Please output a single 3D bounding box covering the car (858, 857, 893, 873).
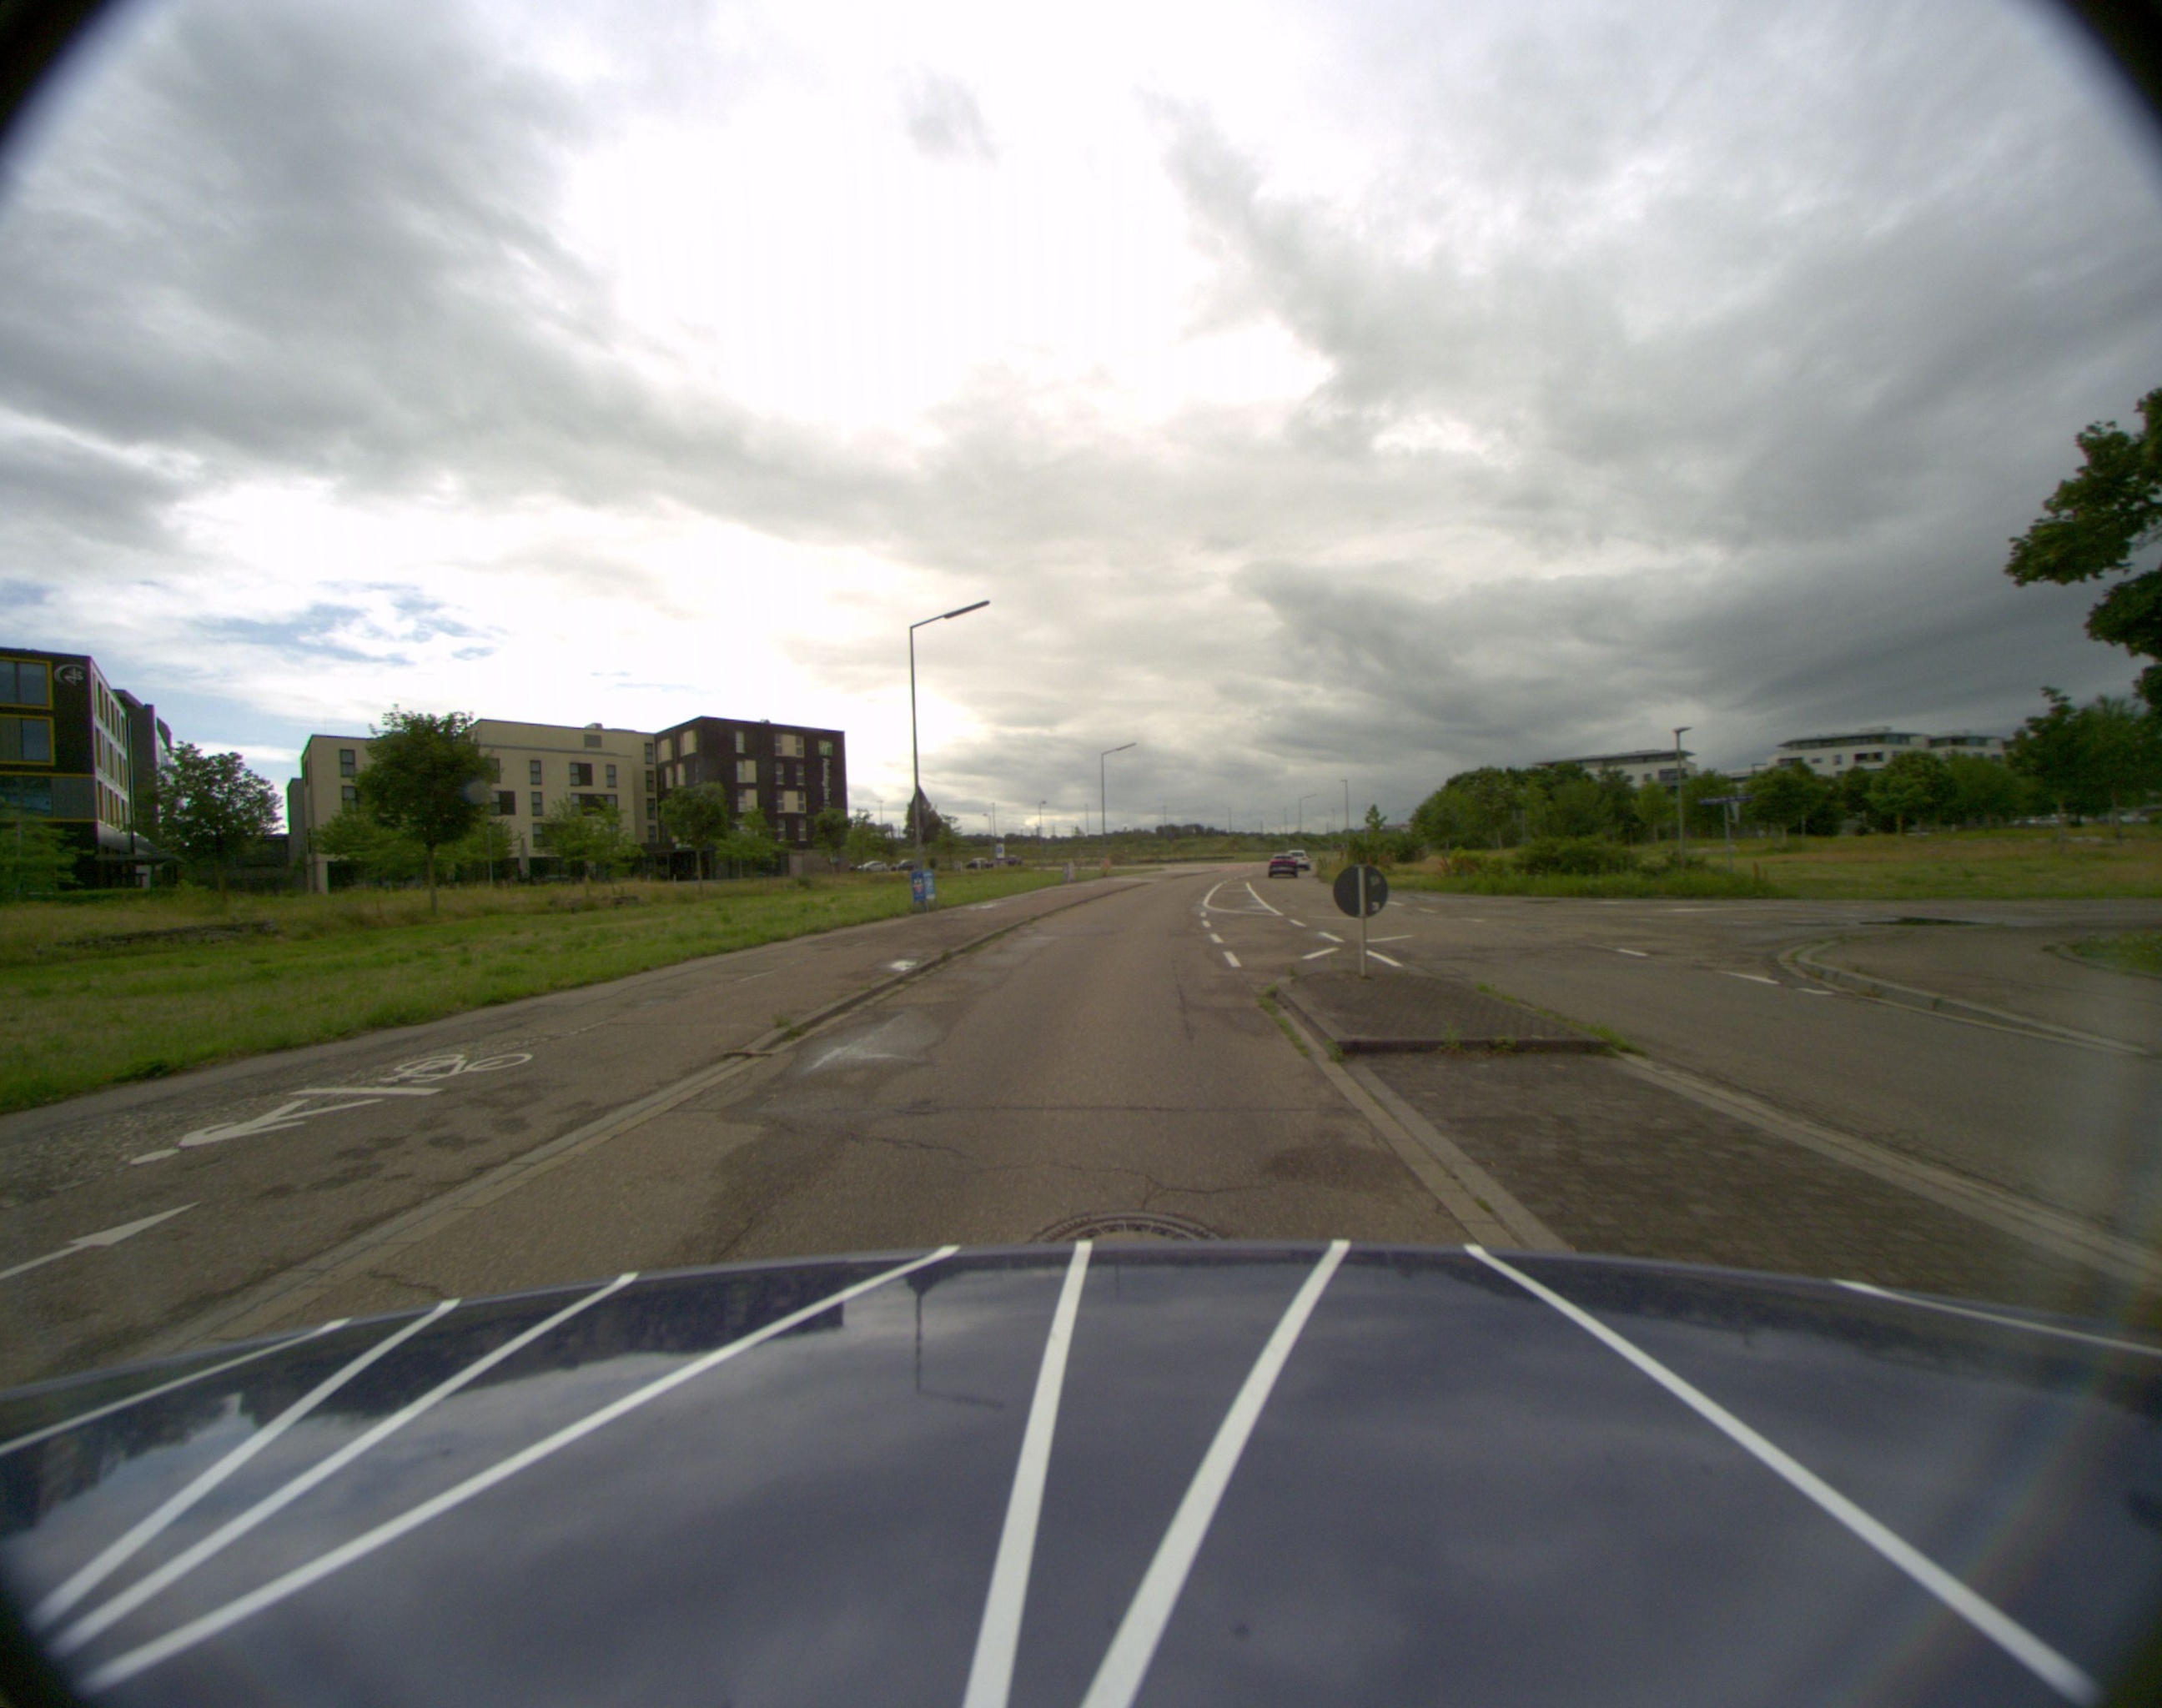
[{"bbox_3d":[-27.272,1.393,100.794,1.994,2.002,4.008,-1,0,41],"label":"car"}]

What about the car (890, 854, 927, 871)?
[{"bbox_3d":[-21.737,1.009,95.790,1.994,2.002,4.008,-1,0,41],"label":"car"}]

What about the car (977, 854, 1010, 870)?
[{"bbox_3d":[-11.808,1.027,102.619,1.994,2.002,4.008,-1,0,41],"label":"car"}]

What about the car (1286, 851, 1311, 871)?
[{"bbox_3d":[17.884,0.526,62.517,1.840,1.527,4.004,-2,0,15],"label":"car"}]

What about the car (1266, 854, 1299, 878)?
[{"bbox_3d":[12.973,0.769,49.086,1.741,1.444,4.003,-2,0,10],"label":"car"}]

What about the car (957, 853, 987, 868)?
[{"bbox_3d":[-15.696,0.916,109.506,1.994,2.002,4.008,-1,0,38],"label":"car"}]
